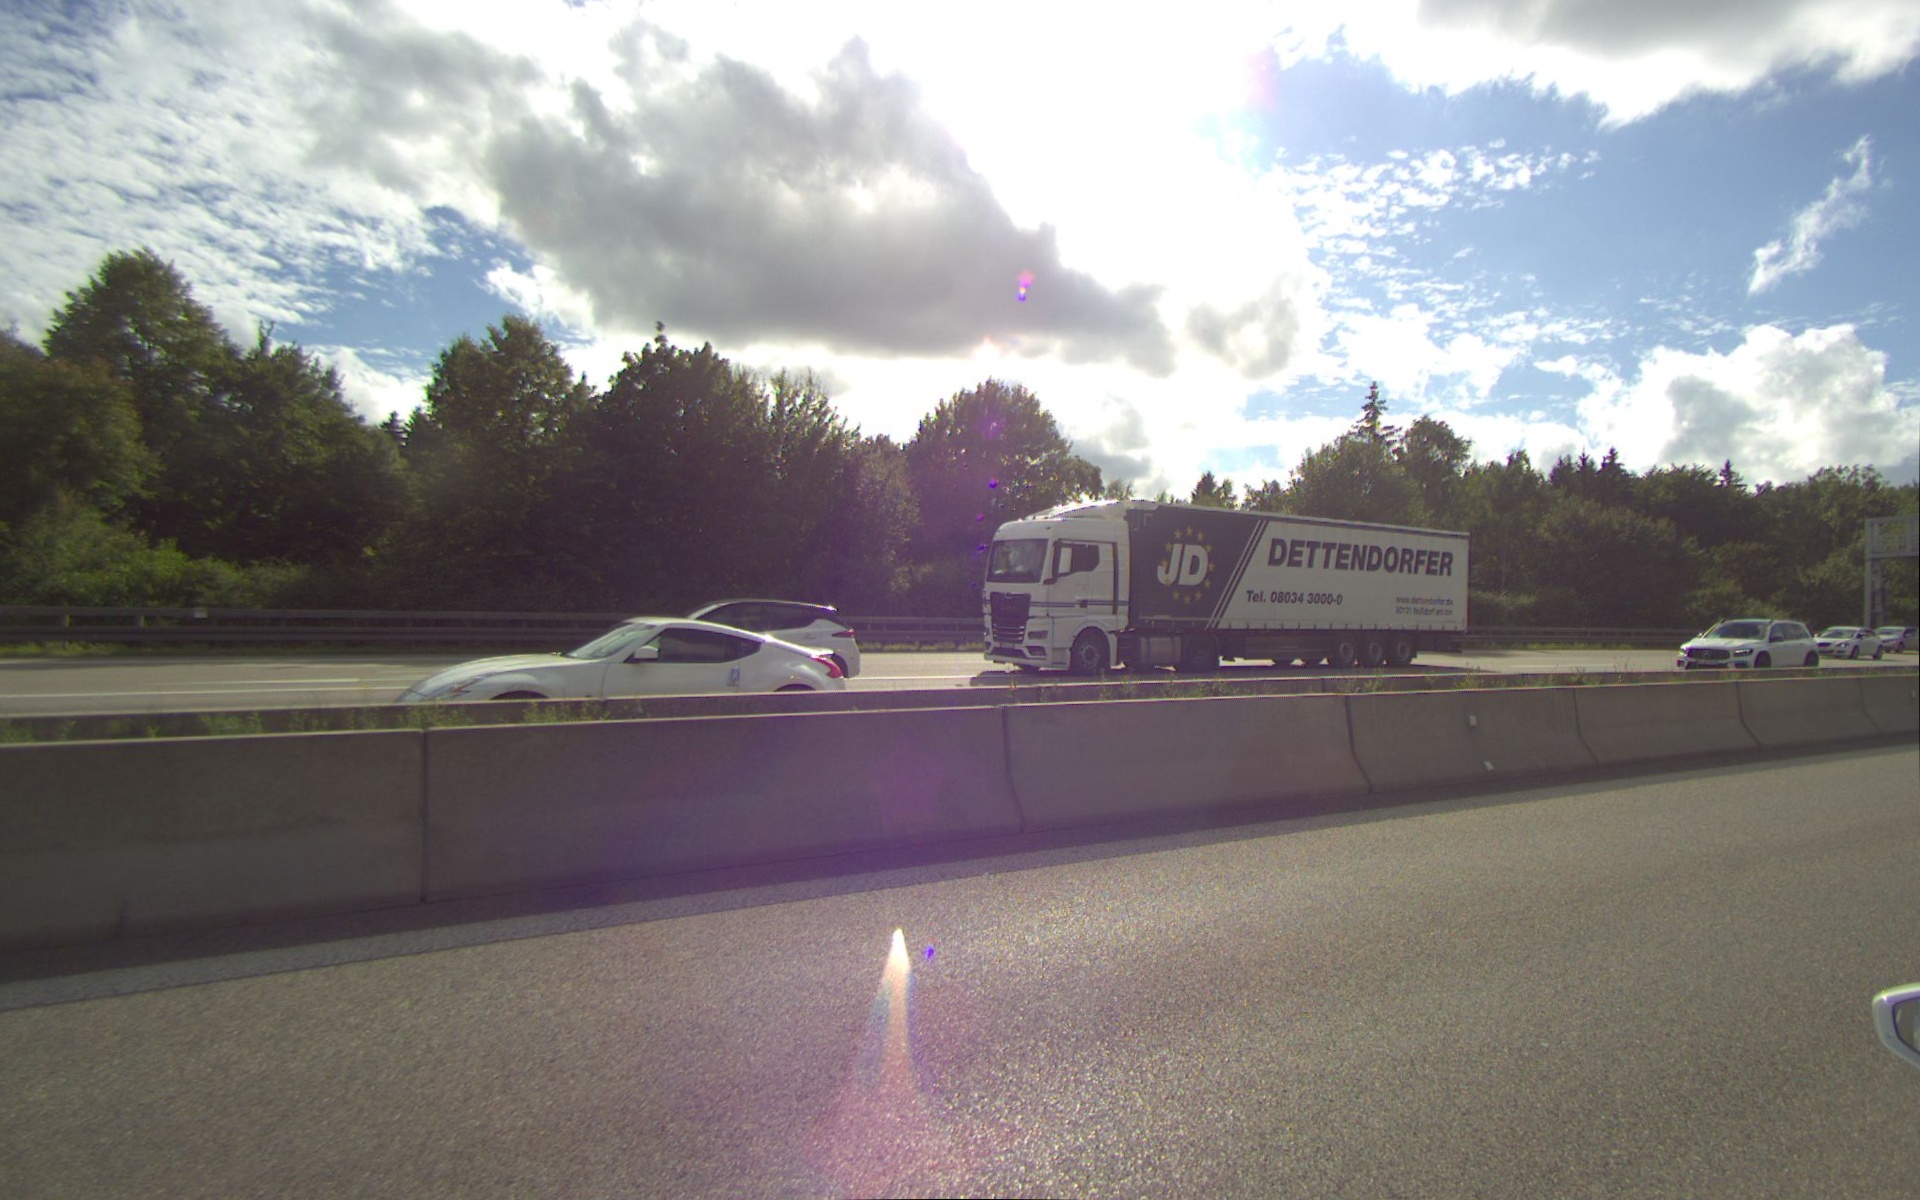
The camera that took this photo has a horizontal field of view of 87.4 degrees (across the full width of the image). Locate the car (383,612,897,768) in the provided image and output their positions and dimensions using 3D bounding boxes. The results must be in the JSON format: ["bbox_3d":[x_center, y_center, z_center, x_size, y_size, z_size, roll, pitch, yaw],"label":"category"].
[{"bbox_3d":[-2.992,0.757,9.809,4.468,1.176,1.800,1,0,-34],"label":"car"}]

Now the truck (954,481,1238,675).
[{"bbox_3d":[3.354,-0.418,24.552,6.156,4.161,3.299,1,0,-32],"label":"truck"}]

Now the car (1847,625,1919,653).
[{"bbox_3d":[52.615,2.199,57.149,4.227,1.457,1.984,1,0,-30],"label":"car"}]

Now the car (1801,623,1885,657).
[{"bbox_3d":[40.810,1.851,46.392,4.234,1.445,1.617,1,0,-30],"label":"car"}]

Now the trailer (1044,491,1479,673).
[{"bbox_3d":[8.977,-0.264,28.178,13.999,4.161,3.299,1,0,-32],"label":"trailer"}]

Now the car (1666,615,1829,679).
[{"bbox_3d":[21.602,1.267,27.515,4.882,1.615,1.701,1,0,-29],"label":"car"}]

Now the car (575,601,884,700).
[{"bbox_3d":[-3.804,0.800,16.835,4.742,1.472,1.803,1,0,-29],"label":"car"}]

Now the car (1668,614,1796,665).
[{"bbox_3d":[27.163,1.379,35.311,4.984,1.639,1.785,1,0,-30],"label":"car"}]
